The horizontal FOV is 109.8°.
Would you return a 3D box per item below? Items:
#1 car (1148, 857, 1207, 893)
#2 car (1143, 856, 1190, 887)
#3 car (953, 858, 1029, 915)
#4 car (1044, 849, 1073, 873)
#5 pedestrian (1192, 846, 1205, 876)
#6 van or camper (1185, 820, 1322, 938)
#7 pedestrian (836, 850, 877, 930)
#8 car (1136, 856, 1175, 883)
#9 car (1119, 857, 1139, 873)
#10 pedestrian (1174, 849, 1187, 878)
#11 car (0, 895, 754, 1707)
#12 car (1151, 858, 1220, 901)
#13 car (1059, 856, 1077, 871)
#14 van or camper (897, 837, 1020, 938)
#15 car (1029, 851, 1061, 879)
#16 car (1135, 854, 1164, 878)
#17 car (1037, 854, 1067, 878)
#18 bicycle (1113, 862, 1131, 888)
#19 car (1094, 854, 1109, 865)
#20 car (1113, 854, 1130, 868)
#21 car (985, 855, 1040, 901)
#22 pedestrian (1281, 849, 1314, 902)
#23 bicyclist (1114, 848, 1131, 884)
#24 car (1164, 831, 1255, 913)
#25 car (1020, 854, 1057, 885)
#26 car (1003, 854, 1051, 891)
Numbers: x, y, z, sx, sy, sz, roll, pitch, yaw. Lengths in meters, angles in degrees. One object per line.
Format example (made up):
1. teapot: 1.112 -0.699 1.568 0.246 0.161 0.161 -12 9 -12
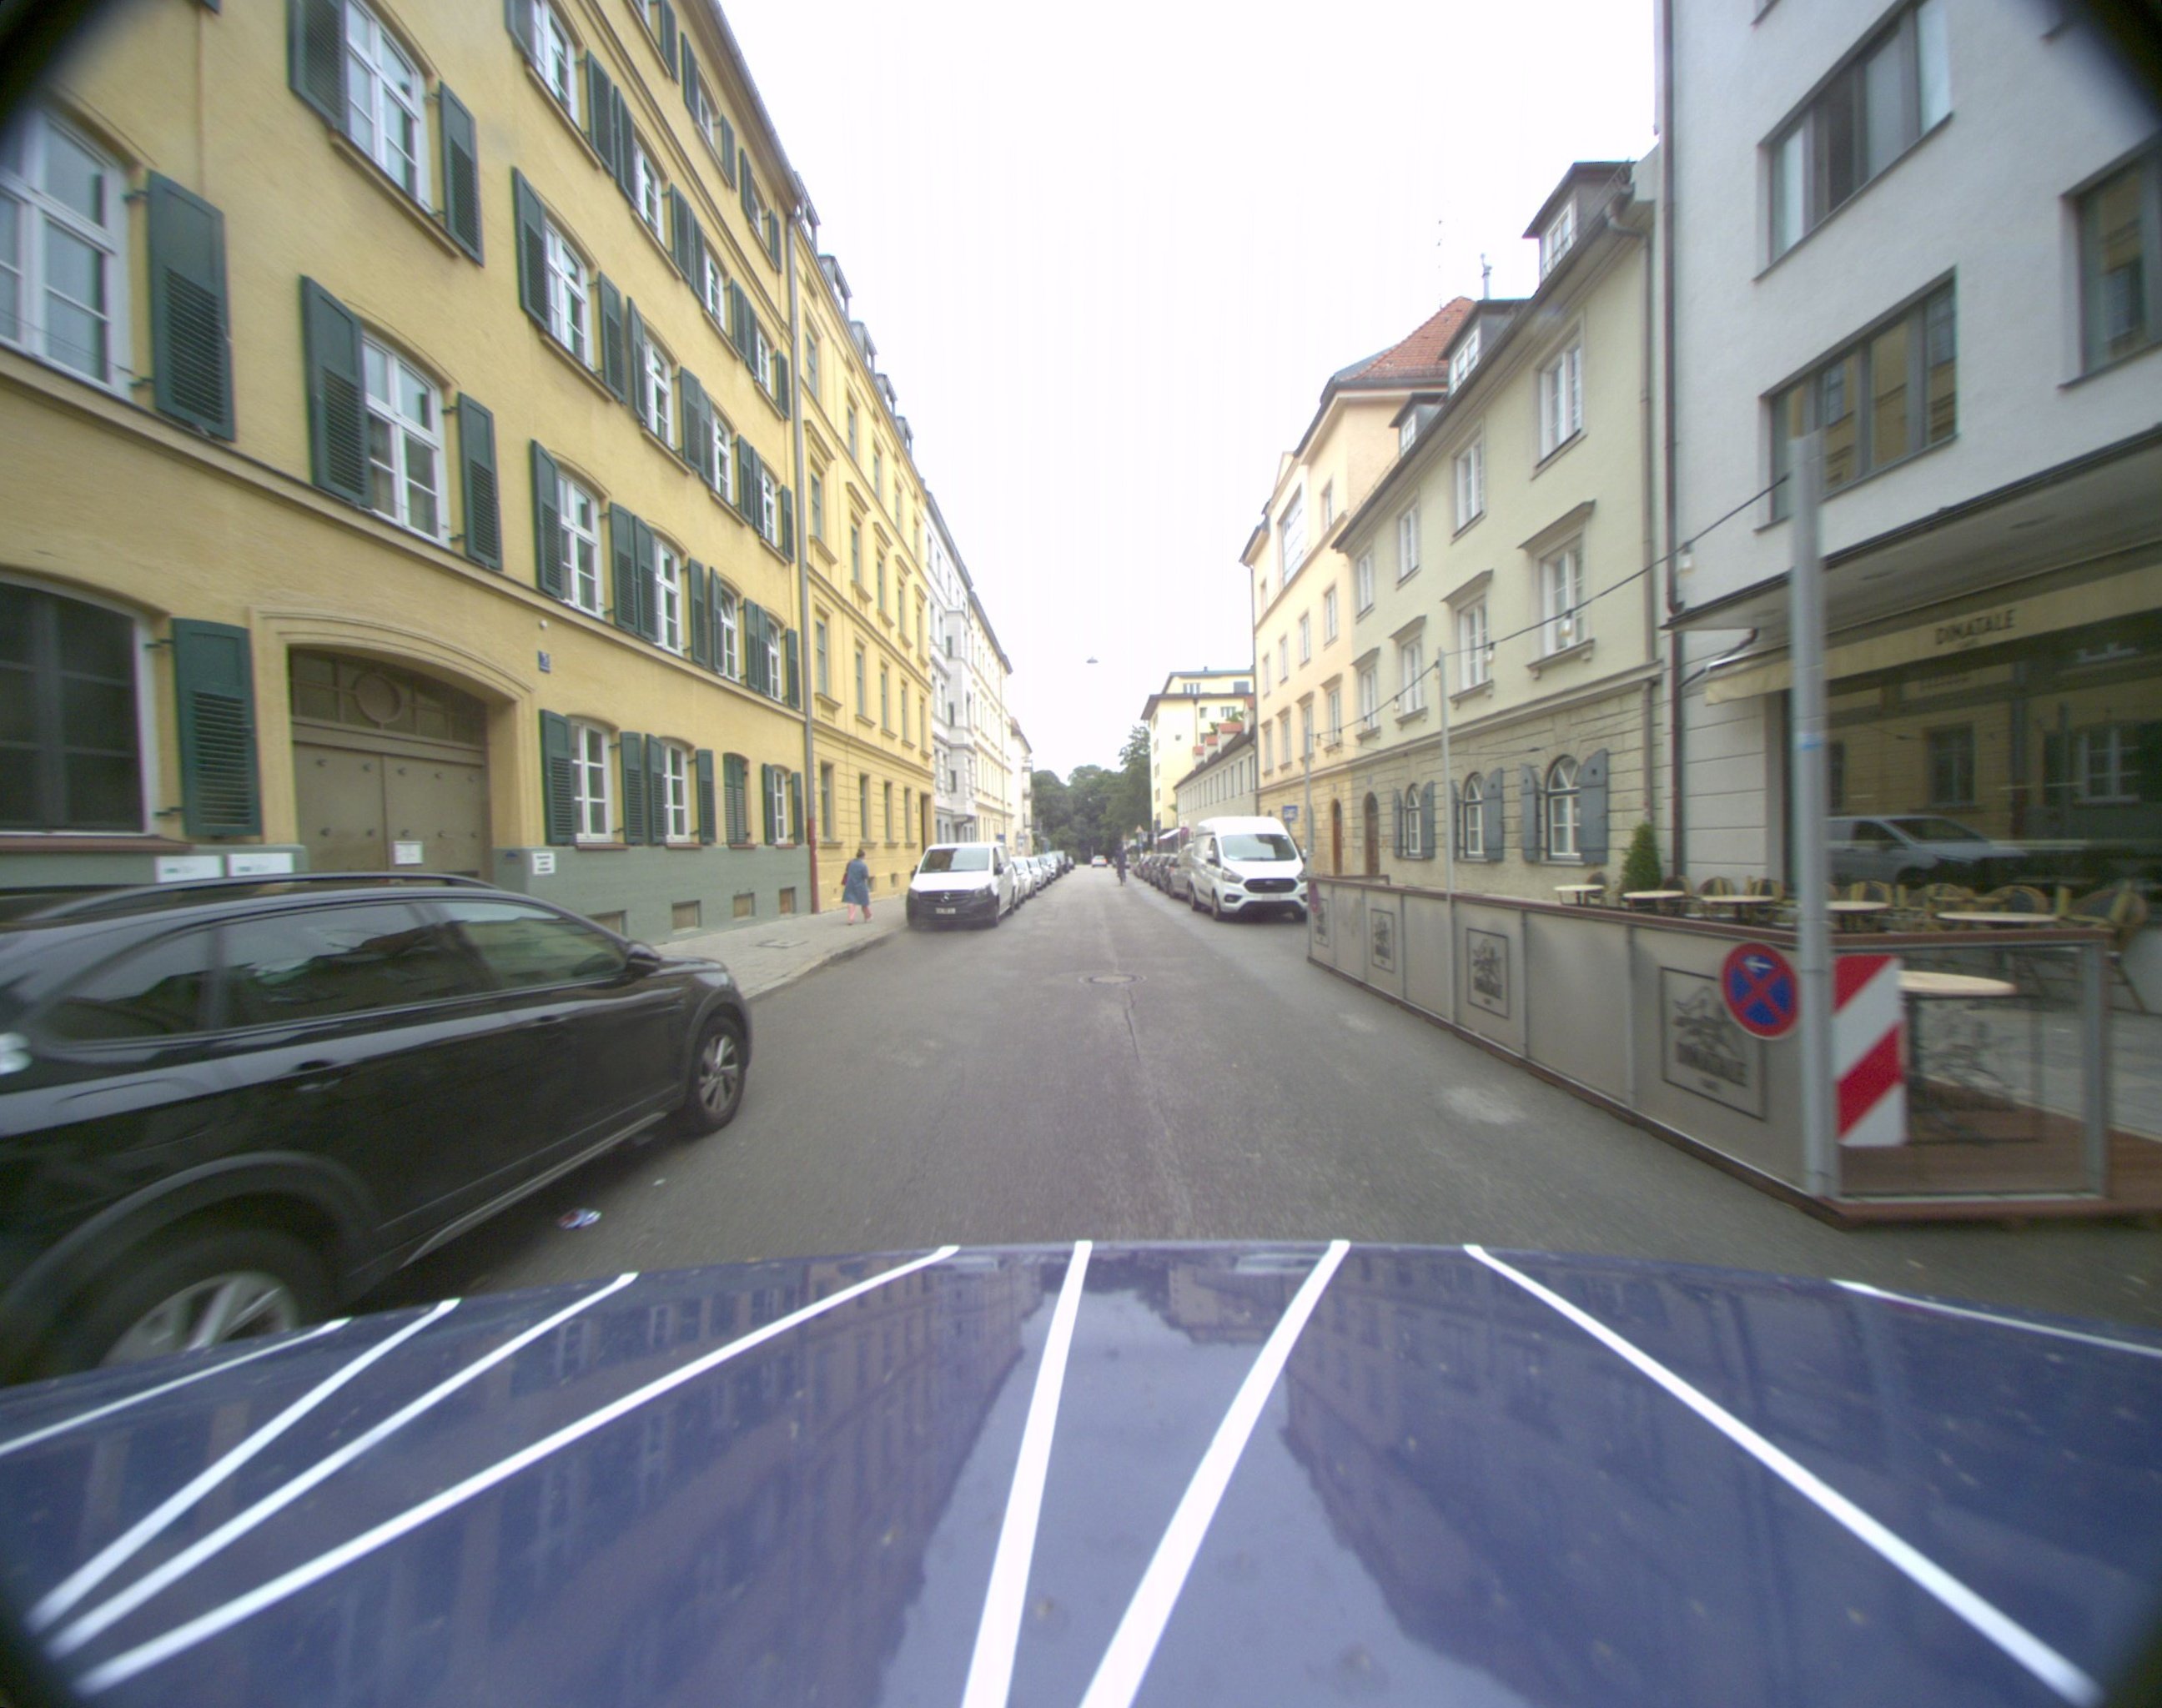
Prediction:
1. car: 4.123 0.865 33.195 1.862 1.393 4.268 -2 0 -2
2. car: 4.264 0.836 38.456 1.862 1.393 4.269 -2 0 0
3. car: -2.606 0.894 23.000 1.820 1.501 4.586 -1 0 -1
4. car: -1.788 0.509 62.533 1.998 1.850 5.114 -1 0 2
5. pedestrian: 6.701 0.375 43.376 0.582 1.689 0.806 -1 1 -2
6. van or camper: 3.779 0.477 17.732 1.998 2.298 5.478 -1 1 1
7. pedestrian: -4.773 0.745 16.195 0.598 1.629 0.896 2 0 -1
8. car: 4.288 0.849 44.316 1.862 1.393 4.269 -2 0 0
9. car: 4.727 1.073 74.758 1.711 1.491 4.000 -1 0 1
10. pedestrian: 5.676 0.532 43.266 0.614 1.589 0.662 -1 1 -2
11. car: -2.980 1.012 2.772 1.750 1.455 4.000 -1 0 1
12. car: 3.812 0.896 28.402 1.862 1.393 4.268 -2 0 -1
13. car: -1.363 0.935 79.856 1.711 1.491 4.000 -1 0 1
14. van or camper: -2.662 0.667 17.882 1.998 2.002 5.232 -1 0 0
15. car: -2.135 0.605 46.251 1.721 1.592 4.322 -1 0 0
16. car: 4.453 0.760 49.822 1.573 1.505 3.424 -2 0 1
17. car: -1.923 0.773 51.256 1.721 1.557 4.143 -1 0 1
18. bicycle: 1.901 0.966 35.381 0.734 1.144 1.999 -2 0 0
19. car: 2.492 0.666 94.350 1.793 1.409 3.905 0 0 0
20. car: 4.717 0.807 88.591 1.711 1.550 4.000 -1 0 1
21. car: -2.426 0.829 27.686 1.627 1.501 3.761 -1 0 0
22. pedestrian: 7.136 0.692 25.133 0.807 1.702 1.021 -1 0 2
23. bicyclist: 1.919 0.541 35.195 0.688 1.618 0.853 -2 1 0
24. car: 3.751 0.483 22.998 1.862 2.188 4.560 -2 0 -1
25. car: -2.181 0.773 39.934 1.721 1.501 3.936 -1 0 0
26. car: -2.355 0.798 34.211 1.721 1.501 4.469 -1 0 1
